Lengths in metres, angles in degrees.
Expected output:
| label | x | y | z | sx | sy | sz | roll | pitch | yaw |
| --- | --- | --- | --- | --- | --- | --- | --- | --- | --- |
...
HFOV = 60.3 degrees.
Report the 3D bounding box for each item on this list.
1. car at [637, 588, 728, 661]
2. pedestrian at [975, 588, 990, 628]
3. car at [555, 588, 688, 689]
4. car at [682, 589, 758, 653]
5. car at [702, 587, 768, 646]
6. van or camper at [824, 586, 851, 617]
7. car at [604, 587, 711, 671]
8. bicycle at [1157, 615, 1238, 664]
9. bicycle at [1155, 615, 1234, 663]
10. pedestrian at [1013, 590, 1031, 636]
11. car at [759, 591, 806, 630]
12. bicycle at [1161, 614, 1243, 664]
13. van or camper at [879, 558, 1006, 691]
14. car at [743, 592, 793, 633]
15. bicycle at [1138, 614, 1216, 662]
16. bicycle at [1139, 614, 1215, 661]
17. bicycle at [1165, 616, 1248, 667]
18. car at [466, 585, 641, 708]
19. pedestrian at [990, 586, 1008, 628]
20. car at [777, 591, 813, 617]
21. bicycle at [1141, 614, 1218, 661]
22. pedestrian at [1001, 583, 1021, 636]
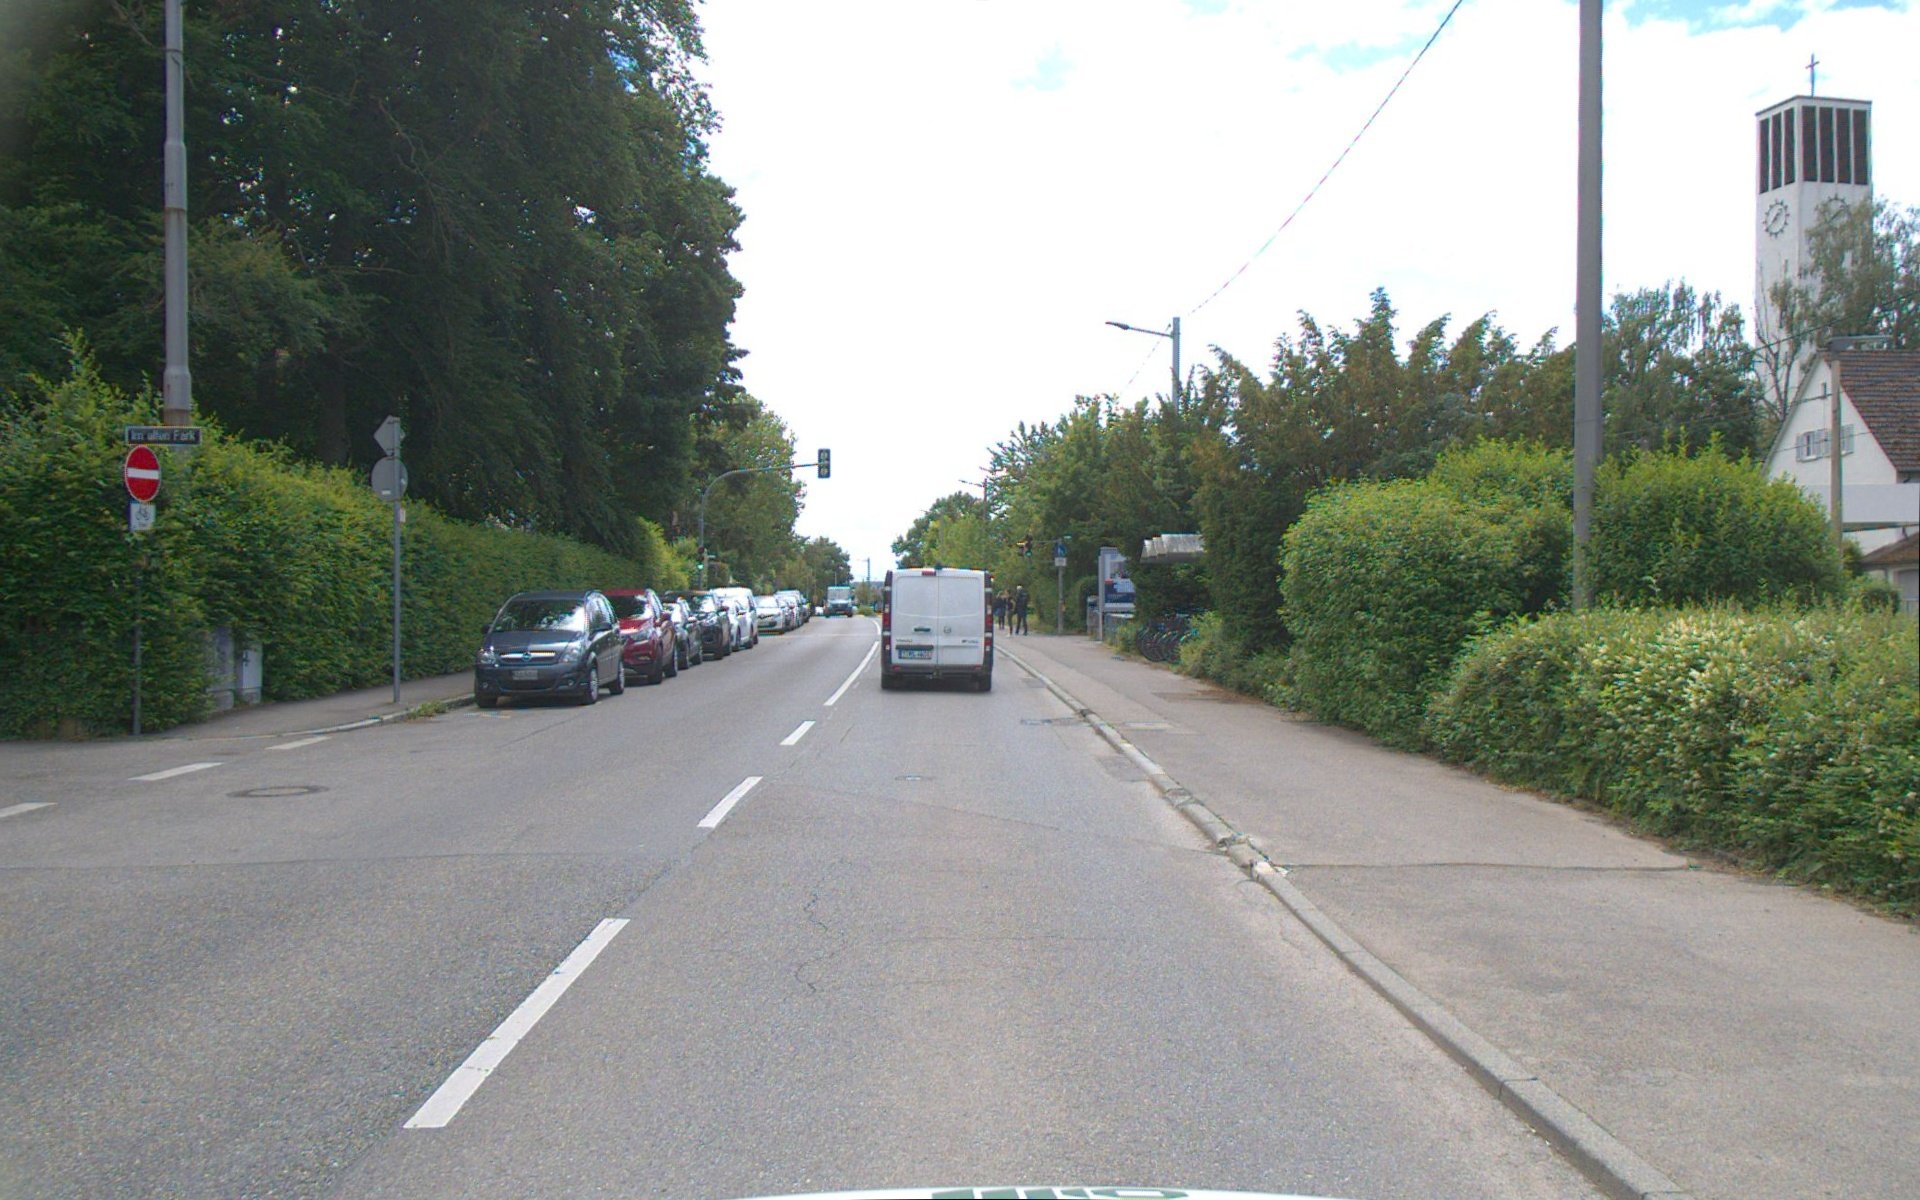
| label | x | y | z | sx | sy | sz | roll | pitch | yaw |
| --- | --- | --- | --- | --- | --- | --- | --- | --- | --- |
| car | -6.762 | 0.571 | 40.634 | 1.726 | 1.685 | 3.813 | -1 | 0 | -3 |
| pedestrian | 1.090 | 0.391 | 79.400 | 0.688 | 1.883 | 0.666 | 1 | 0 | -1 |
| car | -6.088 | 0.646 | 30.165 | 1.726 | 1.685 | 4.059 | -1 | 0 | -3 |
| car | -6.679 | 0.563 | 46.334 | 1.726 | 1.685 | 3.813 | -1 | 0 | -3 |
| car | -7.206 | 0.507 | 53.287 | 1.726 | 1.787 | 3.813 | -1 | 0 | -3 |
| van or camper | -9.158 | 0.105 | 124.073 | 1.965 | 2.301 | 4.609 | -1 | 0 | -4 |
| car | -6.447 | 0.582 | 35.622 | 1.726 | 1.685 | 3.813 | -1 | 0 | -3 |
| bicycle | 5.157 | 0.850 | 35.924 | 1.664 | 1.048 | 0.491 | 1 | 0 | -3 |
| bicycle | 5.164 | 0.857 | 36.488 | 1.664 | 1.048 | 0.491 | 1 | 0 | -3 |
| pedestrian | 2.341 | 0.500 | 62.475 | 0.660 | 1.726 | 0.522 | 1 | 0 | 3 |
| car | -8.104 | 0.457 | 75.868 | 1.744 | 1.698 | 3.999 | 1 | 0 | -1 |
| bicycle | 5.161 | 0.833 | 35.349 | 1.664 | 1.048 | 0.491 | 1 | 0 | -3 |
| van or camper | -0.305 | 0.401 | 28.274 | 1.953 | 2.049 | 4.445 | 1 | 0 | -1 |
| car | -7.731 | 0.490 | 66.843 | 1.726 | 1.584 | 3.813 | -1 | 0 | -3 |
| bicycle | 4.866 | 0.854 | 37.169 | 1.664 | 1.048 | 0.491 | 1 | 0 | -3 |
| bicycle | 5.012 | 0.862 | 38.242 | 1.664 | 1.048 | 0.491 | 1 | 0 | -3 |
| bicycle | 5.183 | 0.863 | 34.793 | 1.664 | 1.048 | 0.491 | 1 | 0 | -3 |
| car | -5.952 | 0.627 | 24.685 | 1.726 | 1.654 | 4.183 | -1 | 0 | -3 |
| pedestrian | 1.714 | 0.298 | 72.432 | 0.638 | 1.838 | 0.564 | 1 | 0 | -13 |
| car | -9.621 | 0.238 | 96.500 | 1.744 | 1.449 | 3.999 | 1 | 0 | -1 |
| bicycle | 4.996 | 0.855 | 37.692 | 1.664 | 1.048 | 0.491 | 1 | 0 | -3 |
| pedestrian | 1.790 | 0.335 | 58.349 | 0.666 | 1.873 | 0.646 | 1 | 0 | 5 |
